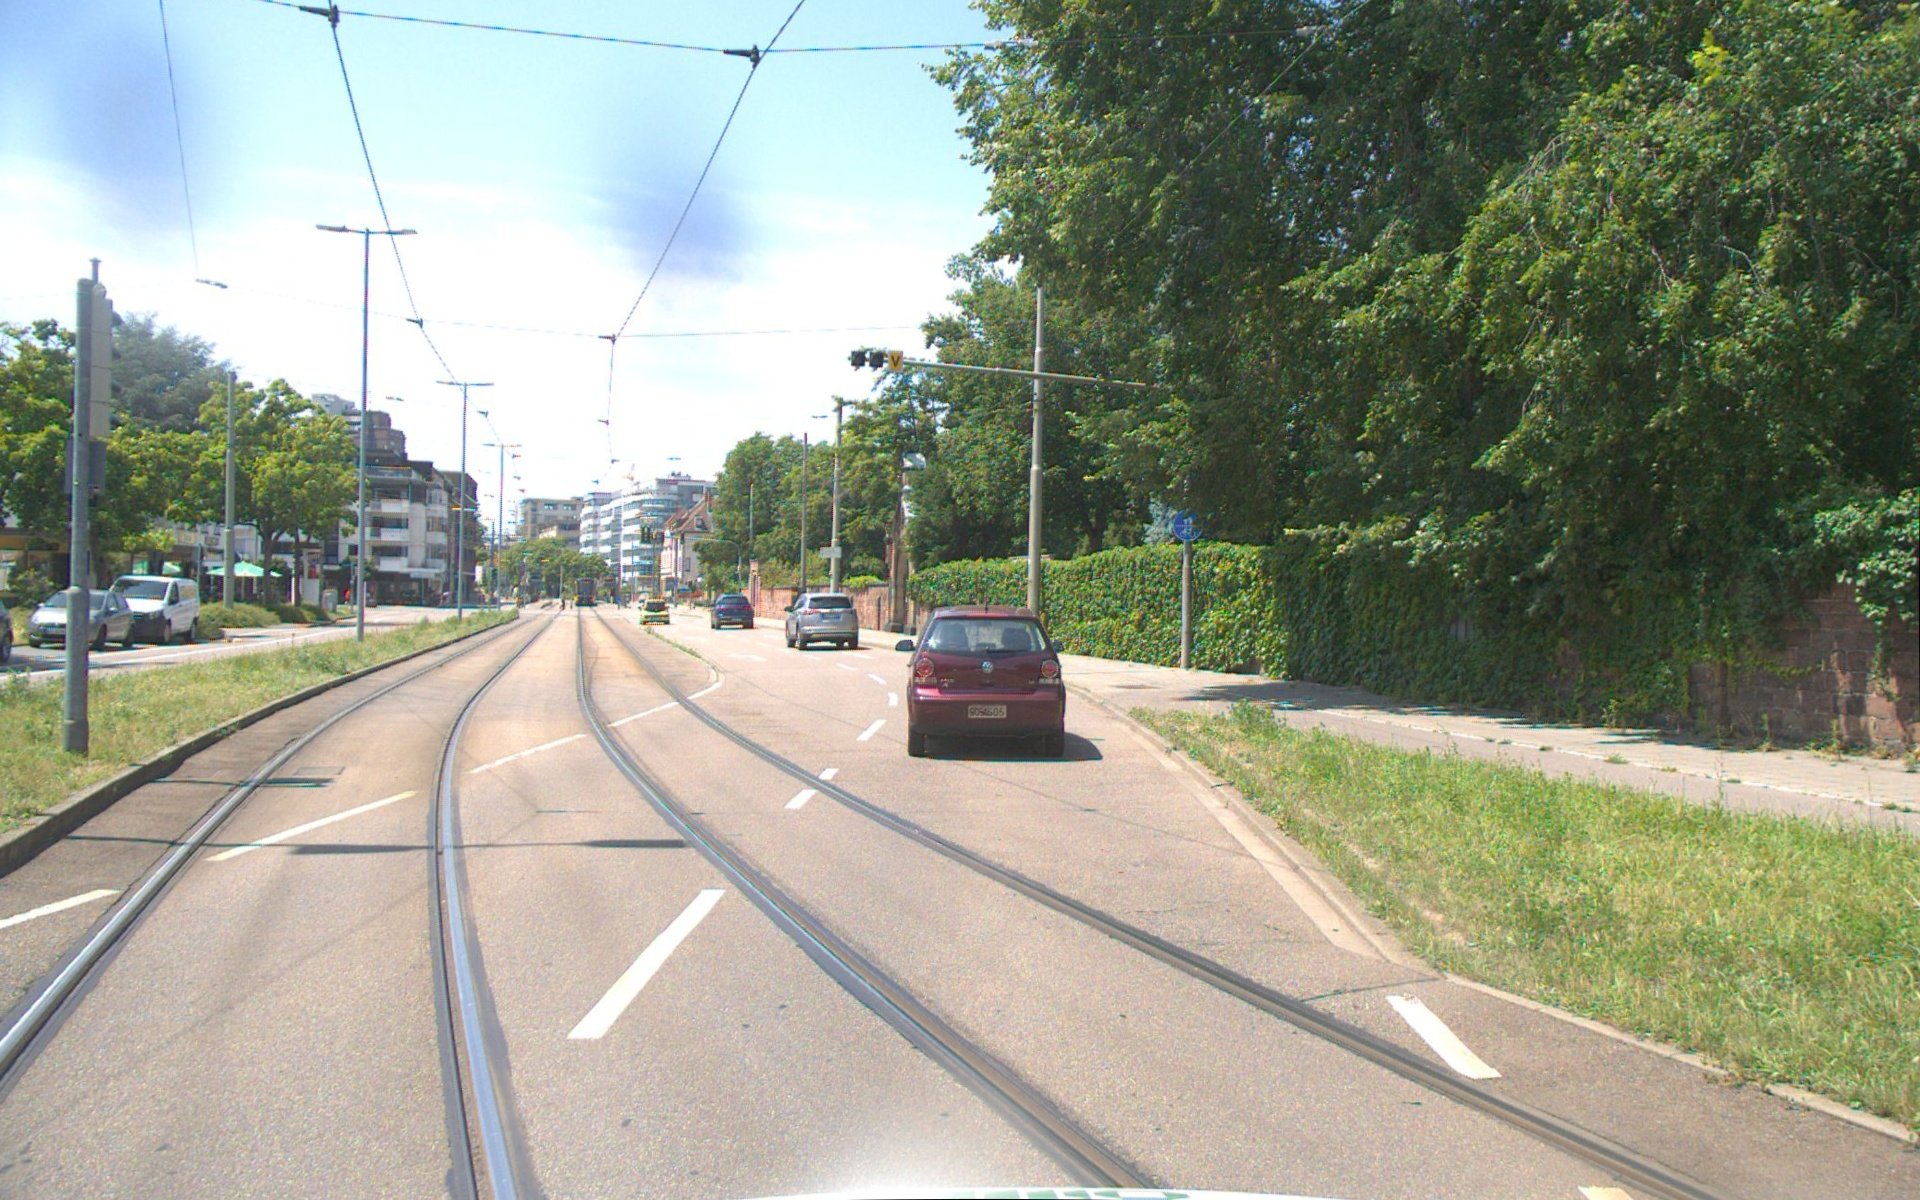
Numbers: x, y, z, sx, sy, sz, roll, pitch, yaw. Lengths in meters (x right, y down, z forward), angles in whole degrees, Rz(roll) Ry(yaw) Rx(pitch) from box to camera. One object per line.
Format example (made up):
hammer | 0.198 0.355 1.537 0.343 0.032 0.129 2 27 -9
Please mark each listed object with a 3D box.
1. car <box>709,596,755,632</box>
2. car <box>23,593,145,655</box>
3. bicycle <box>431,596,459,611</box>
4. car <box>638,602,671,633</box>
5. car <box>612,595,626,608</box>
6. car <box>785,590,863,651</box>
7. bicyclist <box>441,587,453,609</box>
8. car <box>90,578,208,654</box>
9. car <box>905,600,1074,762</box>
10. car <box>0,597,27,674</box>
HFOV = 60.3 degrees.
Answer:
car | -11.071 0.666 80.161 1.744 1.659 3.986 2 0 -14
car | -22.420 0.592 42.461 1.602 1.444 3.857 3 0 -11
bicycle | -50.414 0.322 161.924 2.479 1.444 0.632 0 0 -27
car | -18.018 1.007 97.446 1.764 1.712 3.987 2 0 -13
car | -35.134 0.155 170.342 1.330 1.274 2.962 2 0 -13
car | -4.159 0.592 50.073 1.764 1.712 3.987 2 0 -13
bicyclist | -50.264 -0.191 162.017 0.944 2.128 0.845 0 0 -26
car | -23.835 0.432 48.819 1.843 1.999 5.147 4 -1 -13
car | 0.214 0.774 17.825 1.577 1.524 3.998 0 0 -3
car | -20.097 0.709 33.087 1.289 1.549 4.011 4 -1 -13
